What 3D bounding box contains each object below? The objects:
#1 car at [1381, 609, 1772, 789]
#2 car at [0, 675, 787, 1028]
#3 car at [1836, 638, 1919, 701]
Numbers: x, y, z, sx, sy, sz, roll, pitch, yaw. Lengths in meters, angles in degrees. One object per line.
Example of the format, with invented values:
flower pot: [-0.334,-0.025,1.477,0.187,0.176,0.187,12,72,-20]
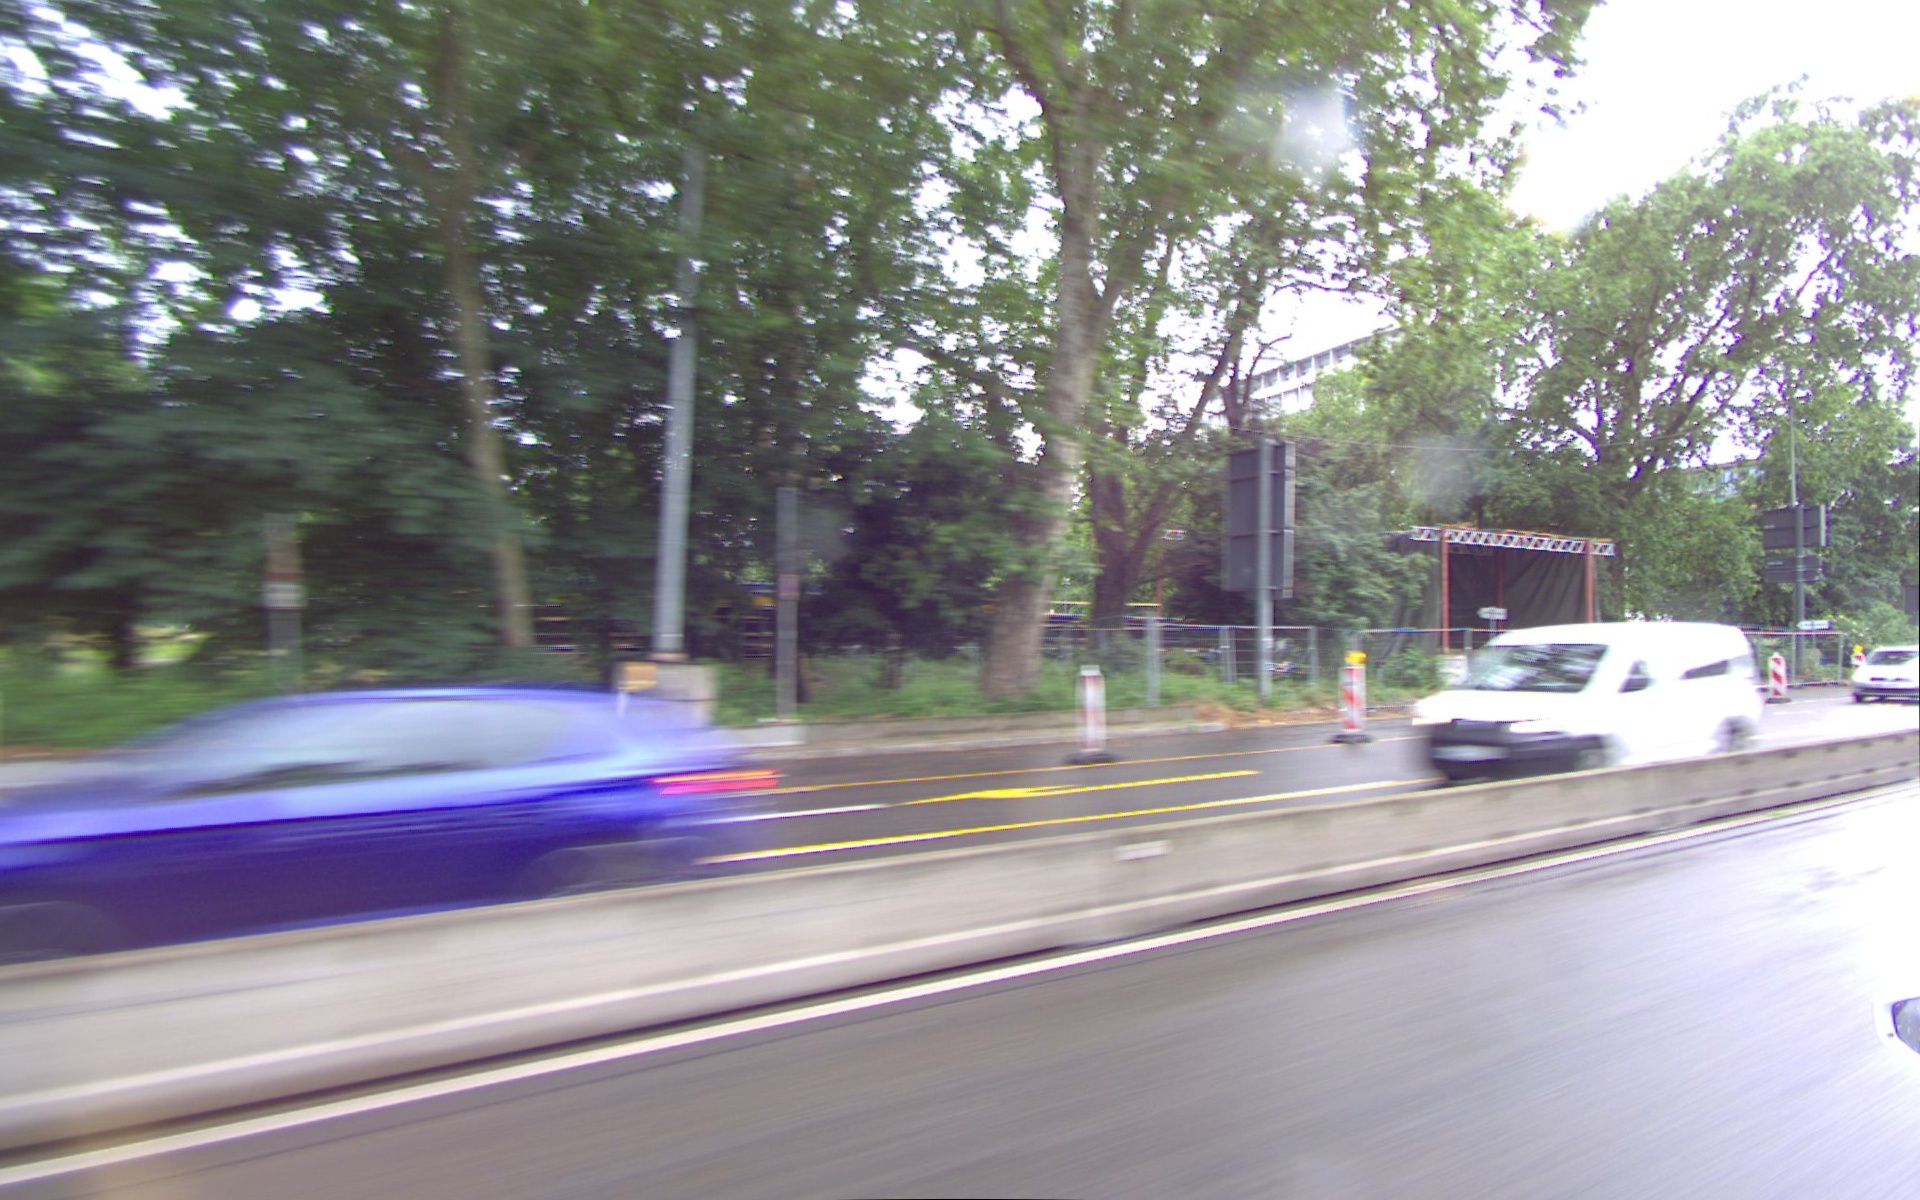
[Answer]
car: [7.221,1.082,11.610,4.861,1.674,2.019,3,-5,-34]
car: [-3.103,1.080,5.257,4.013,1.356,1.705,2,-5,-30]
car: [25.649,1.931,27.283,4.050,1.560,1.858,5,-5,-35]
